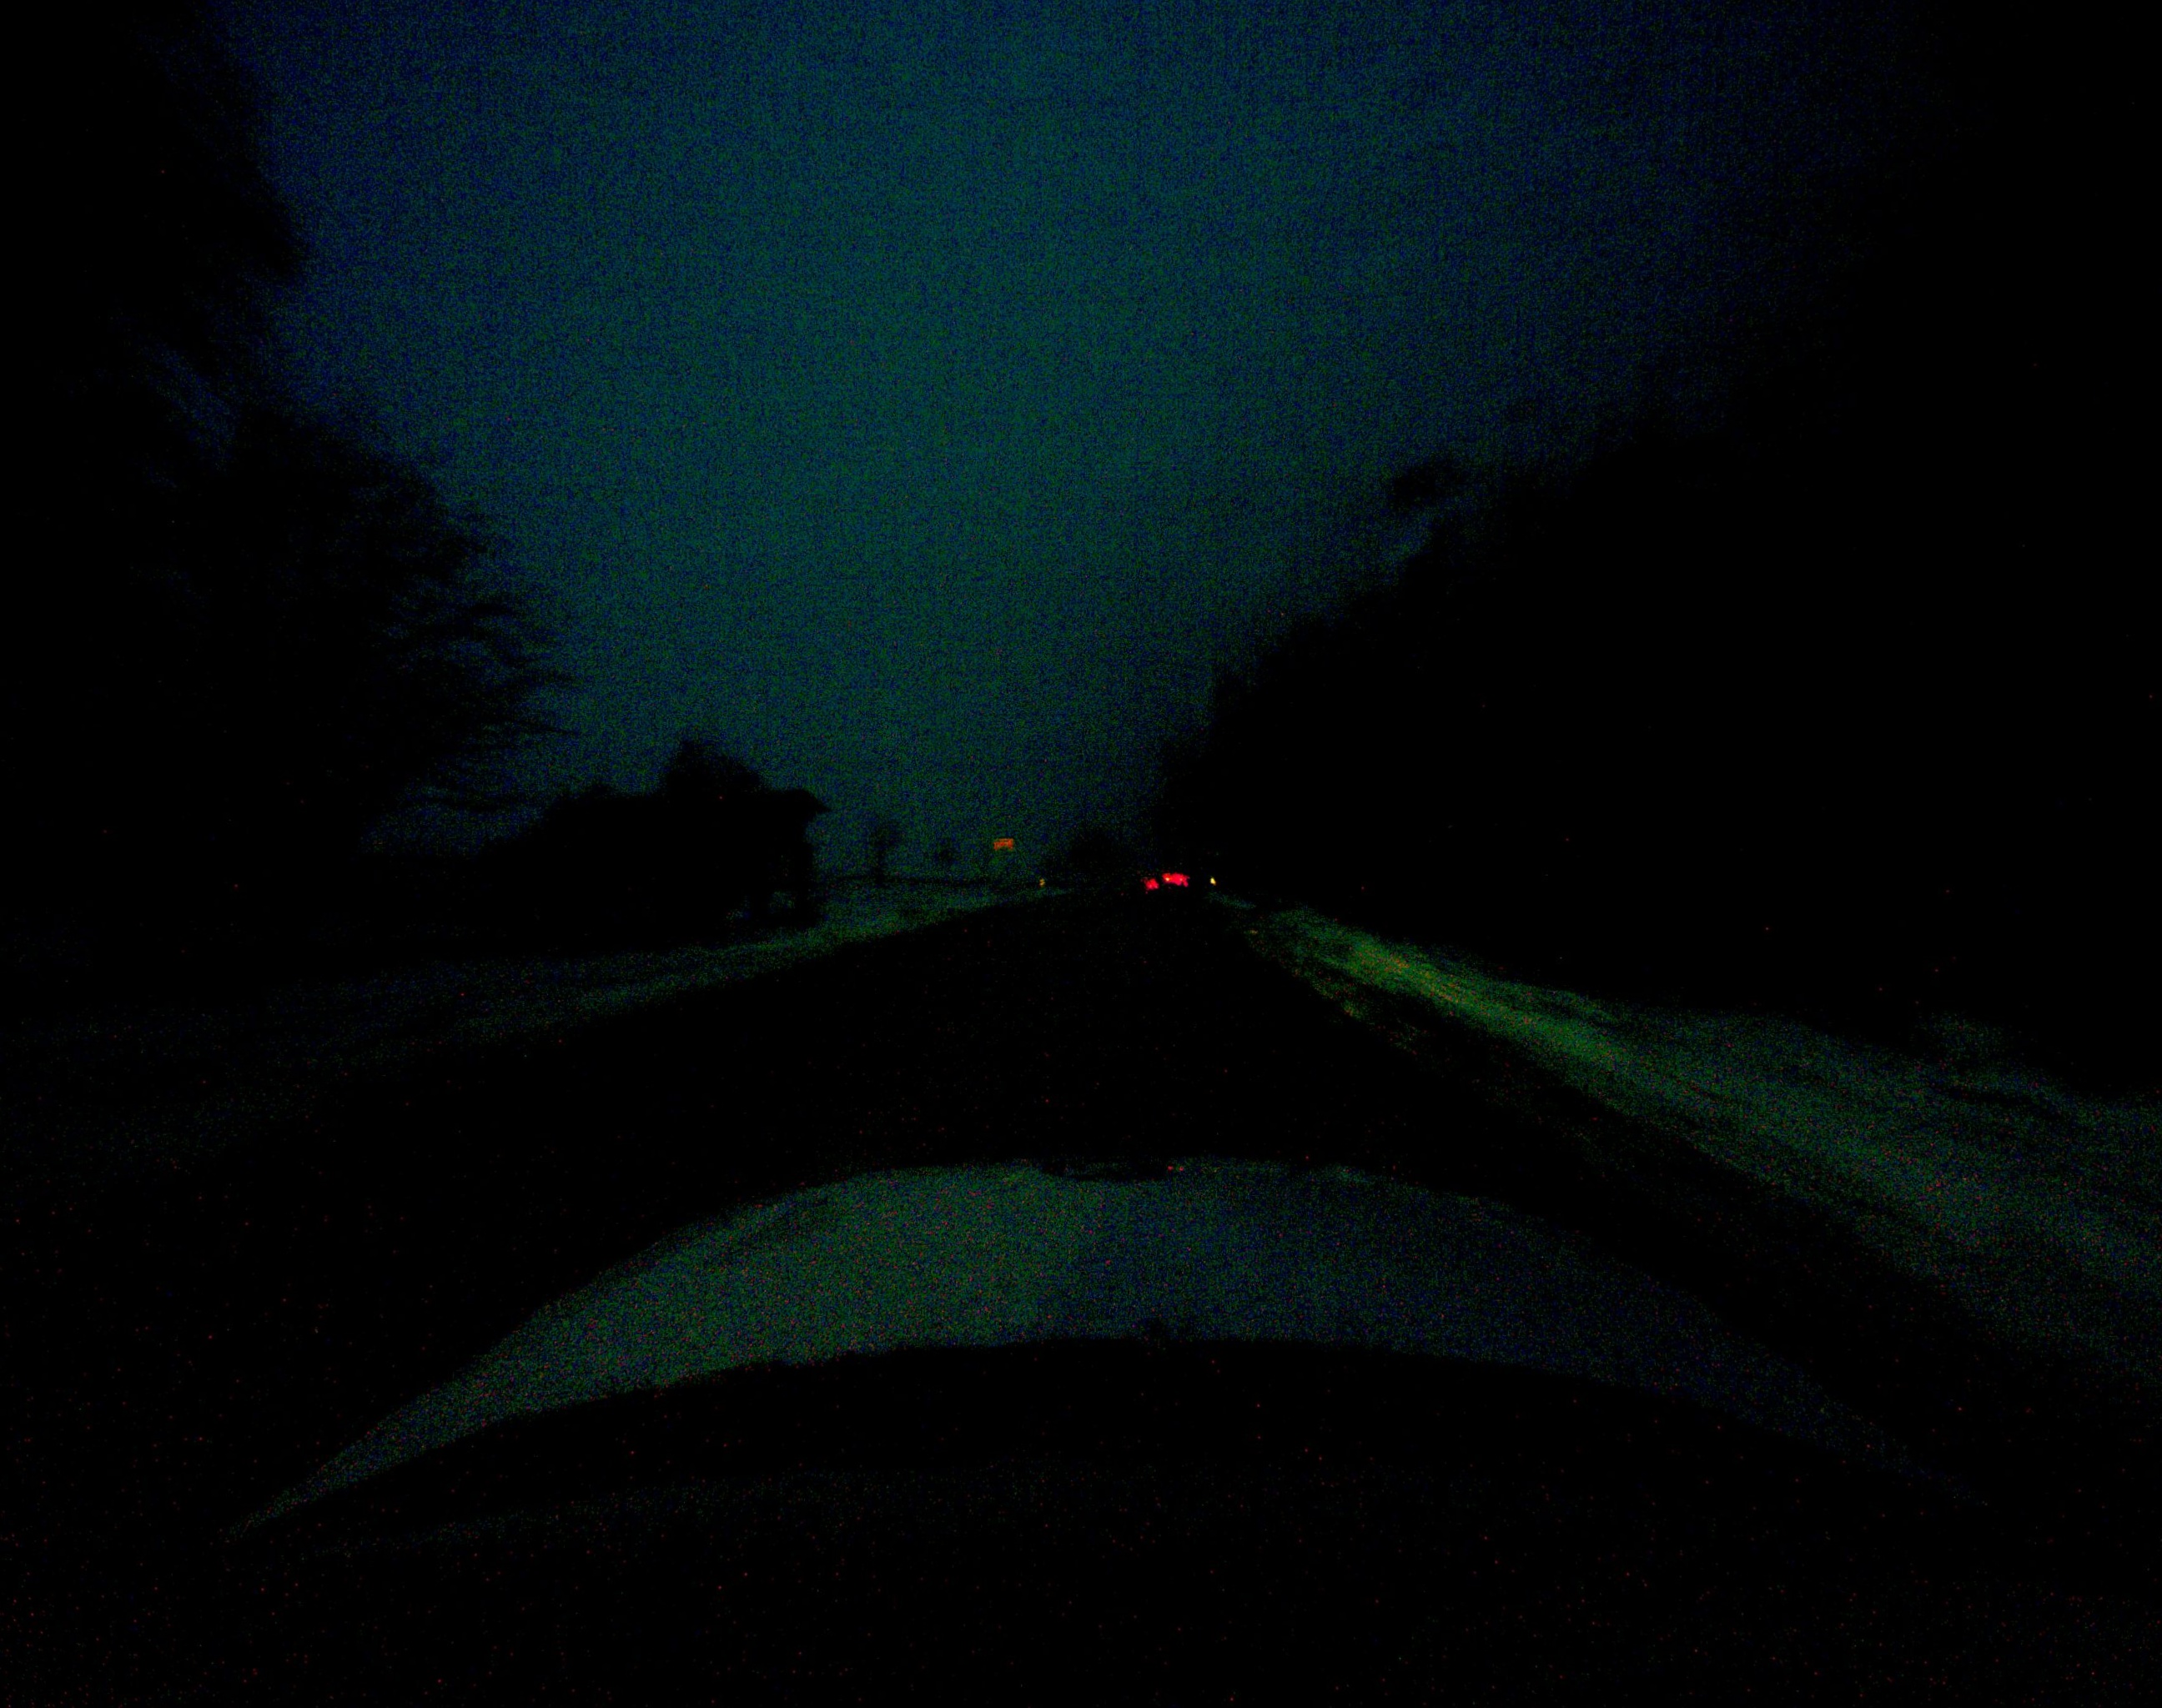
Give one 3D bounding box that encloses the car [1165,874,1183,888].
[{"bbox_3d":[10.686,3.071,93.675,1.984,1.420,4.006,-1,-1,5],"label":"car"}]
